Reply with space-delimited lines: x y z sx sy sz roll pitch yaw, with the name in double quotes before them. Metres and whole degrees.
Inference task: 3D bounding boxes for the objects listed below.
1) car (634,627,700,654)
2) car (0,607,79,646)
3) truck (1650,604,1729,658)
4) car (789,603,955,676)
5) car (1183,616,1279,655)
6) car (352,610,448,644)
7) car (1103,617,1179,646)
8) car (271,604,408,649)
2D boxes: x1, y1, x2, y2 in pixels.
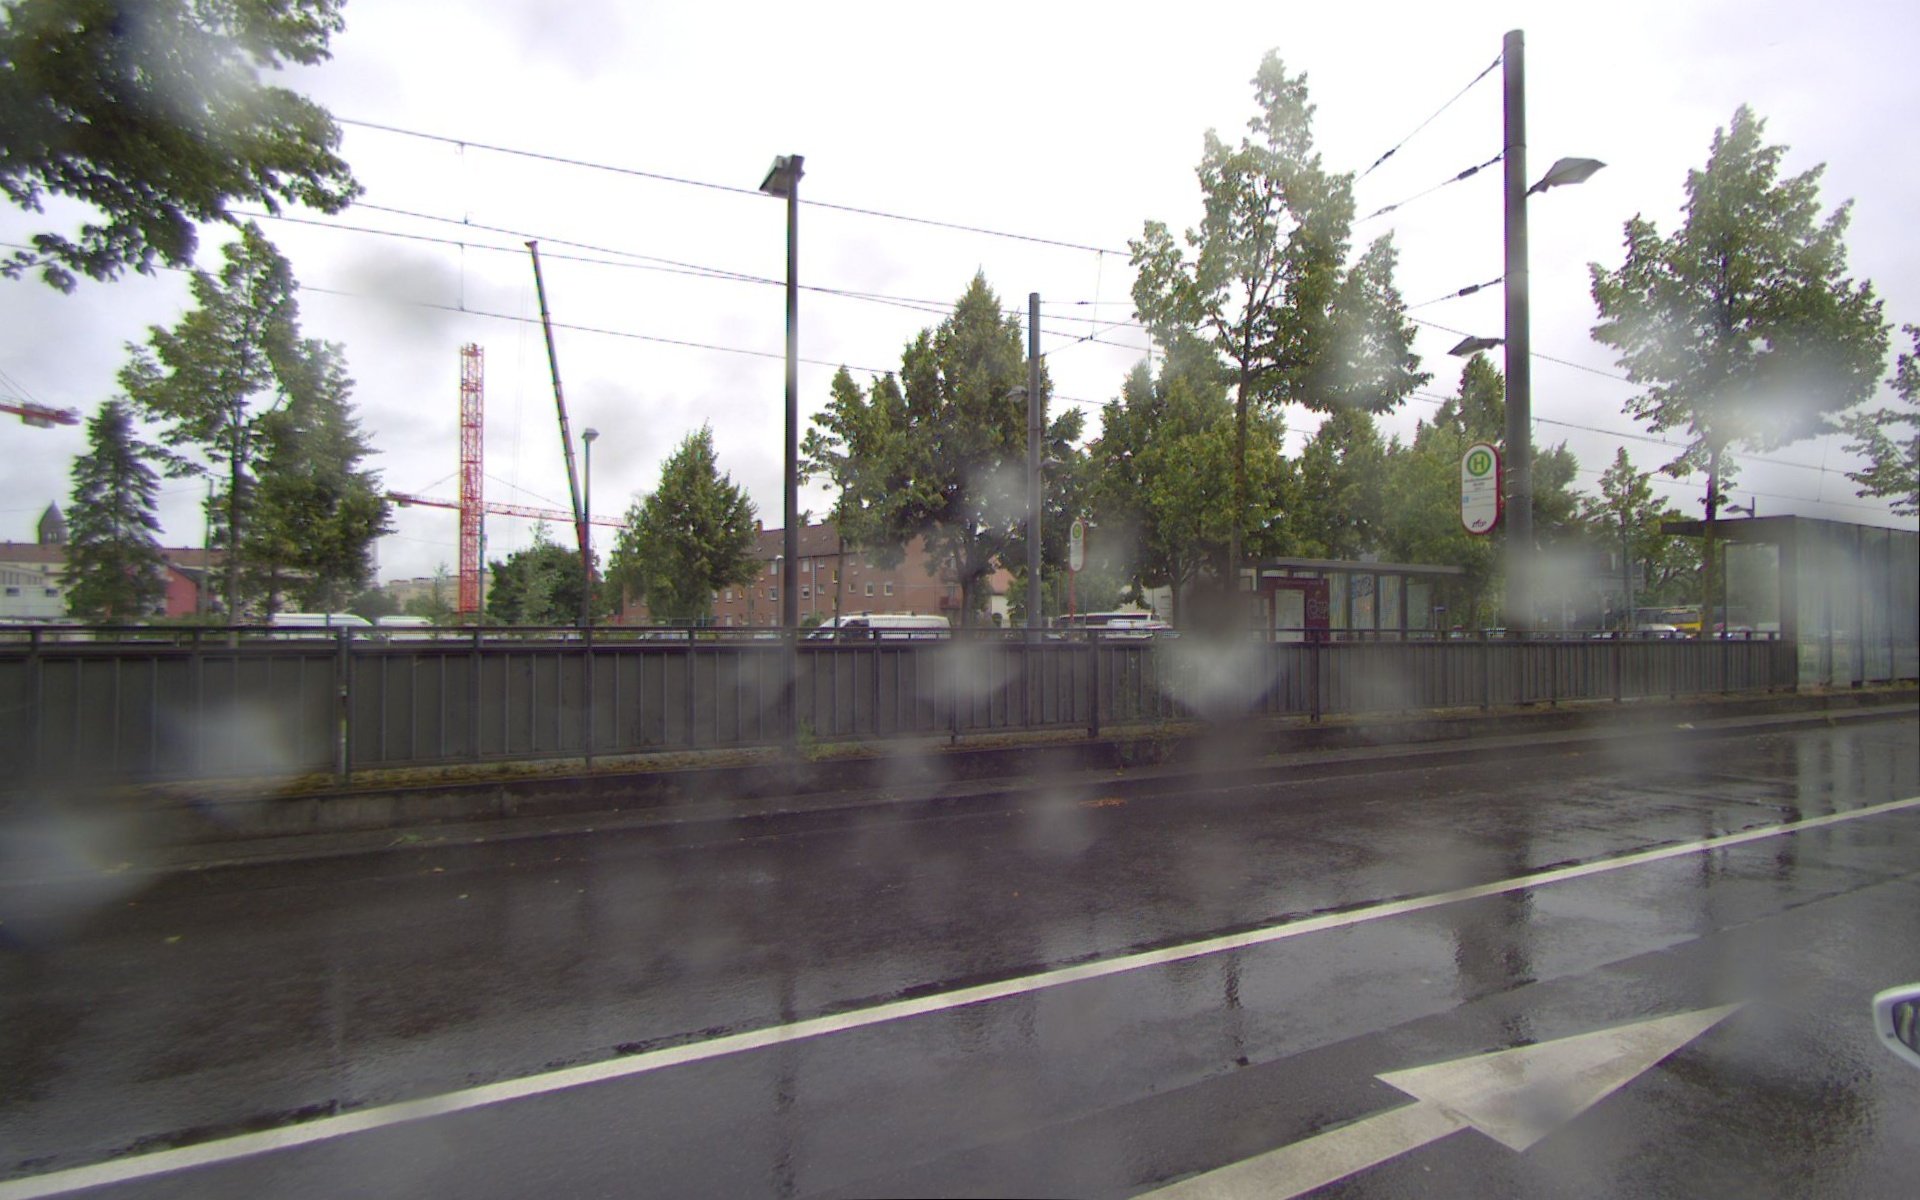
"car" -22.008 3.012 75.489 4.383 1.902 1.858 2 0 -36
"car" -58.625 1.619 62.101 6.089 2.336 1.978 2 0 -38
"truck" 54.916 2.331 75.469 9.108 3.828 2.664 2 0 -40
"car" -2.335 1.040 26.886 3.955 1.770 1.983 2 0 -31
"car" 18.217 2.360 67.533 6.385 2.503 1.617 0 -1 -18
"car" -36.707 1.774 65.918 5.364 2.079 1.982 2 0 -33
"car" 14.845 2.583 82.339 6.001 2.308 1.618 0 -1 -17
"car" -36.146 1.583 58.681 6.676 2.495 1.982 2 0 -33
